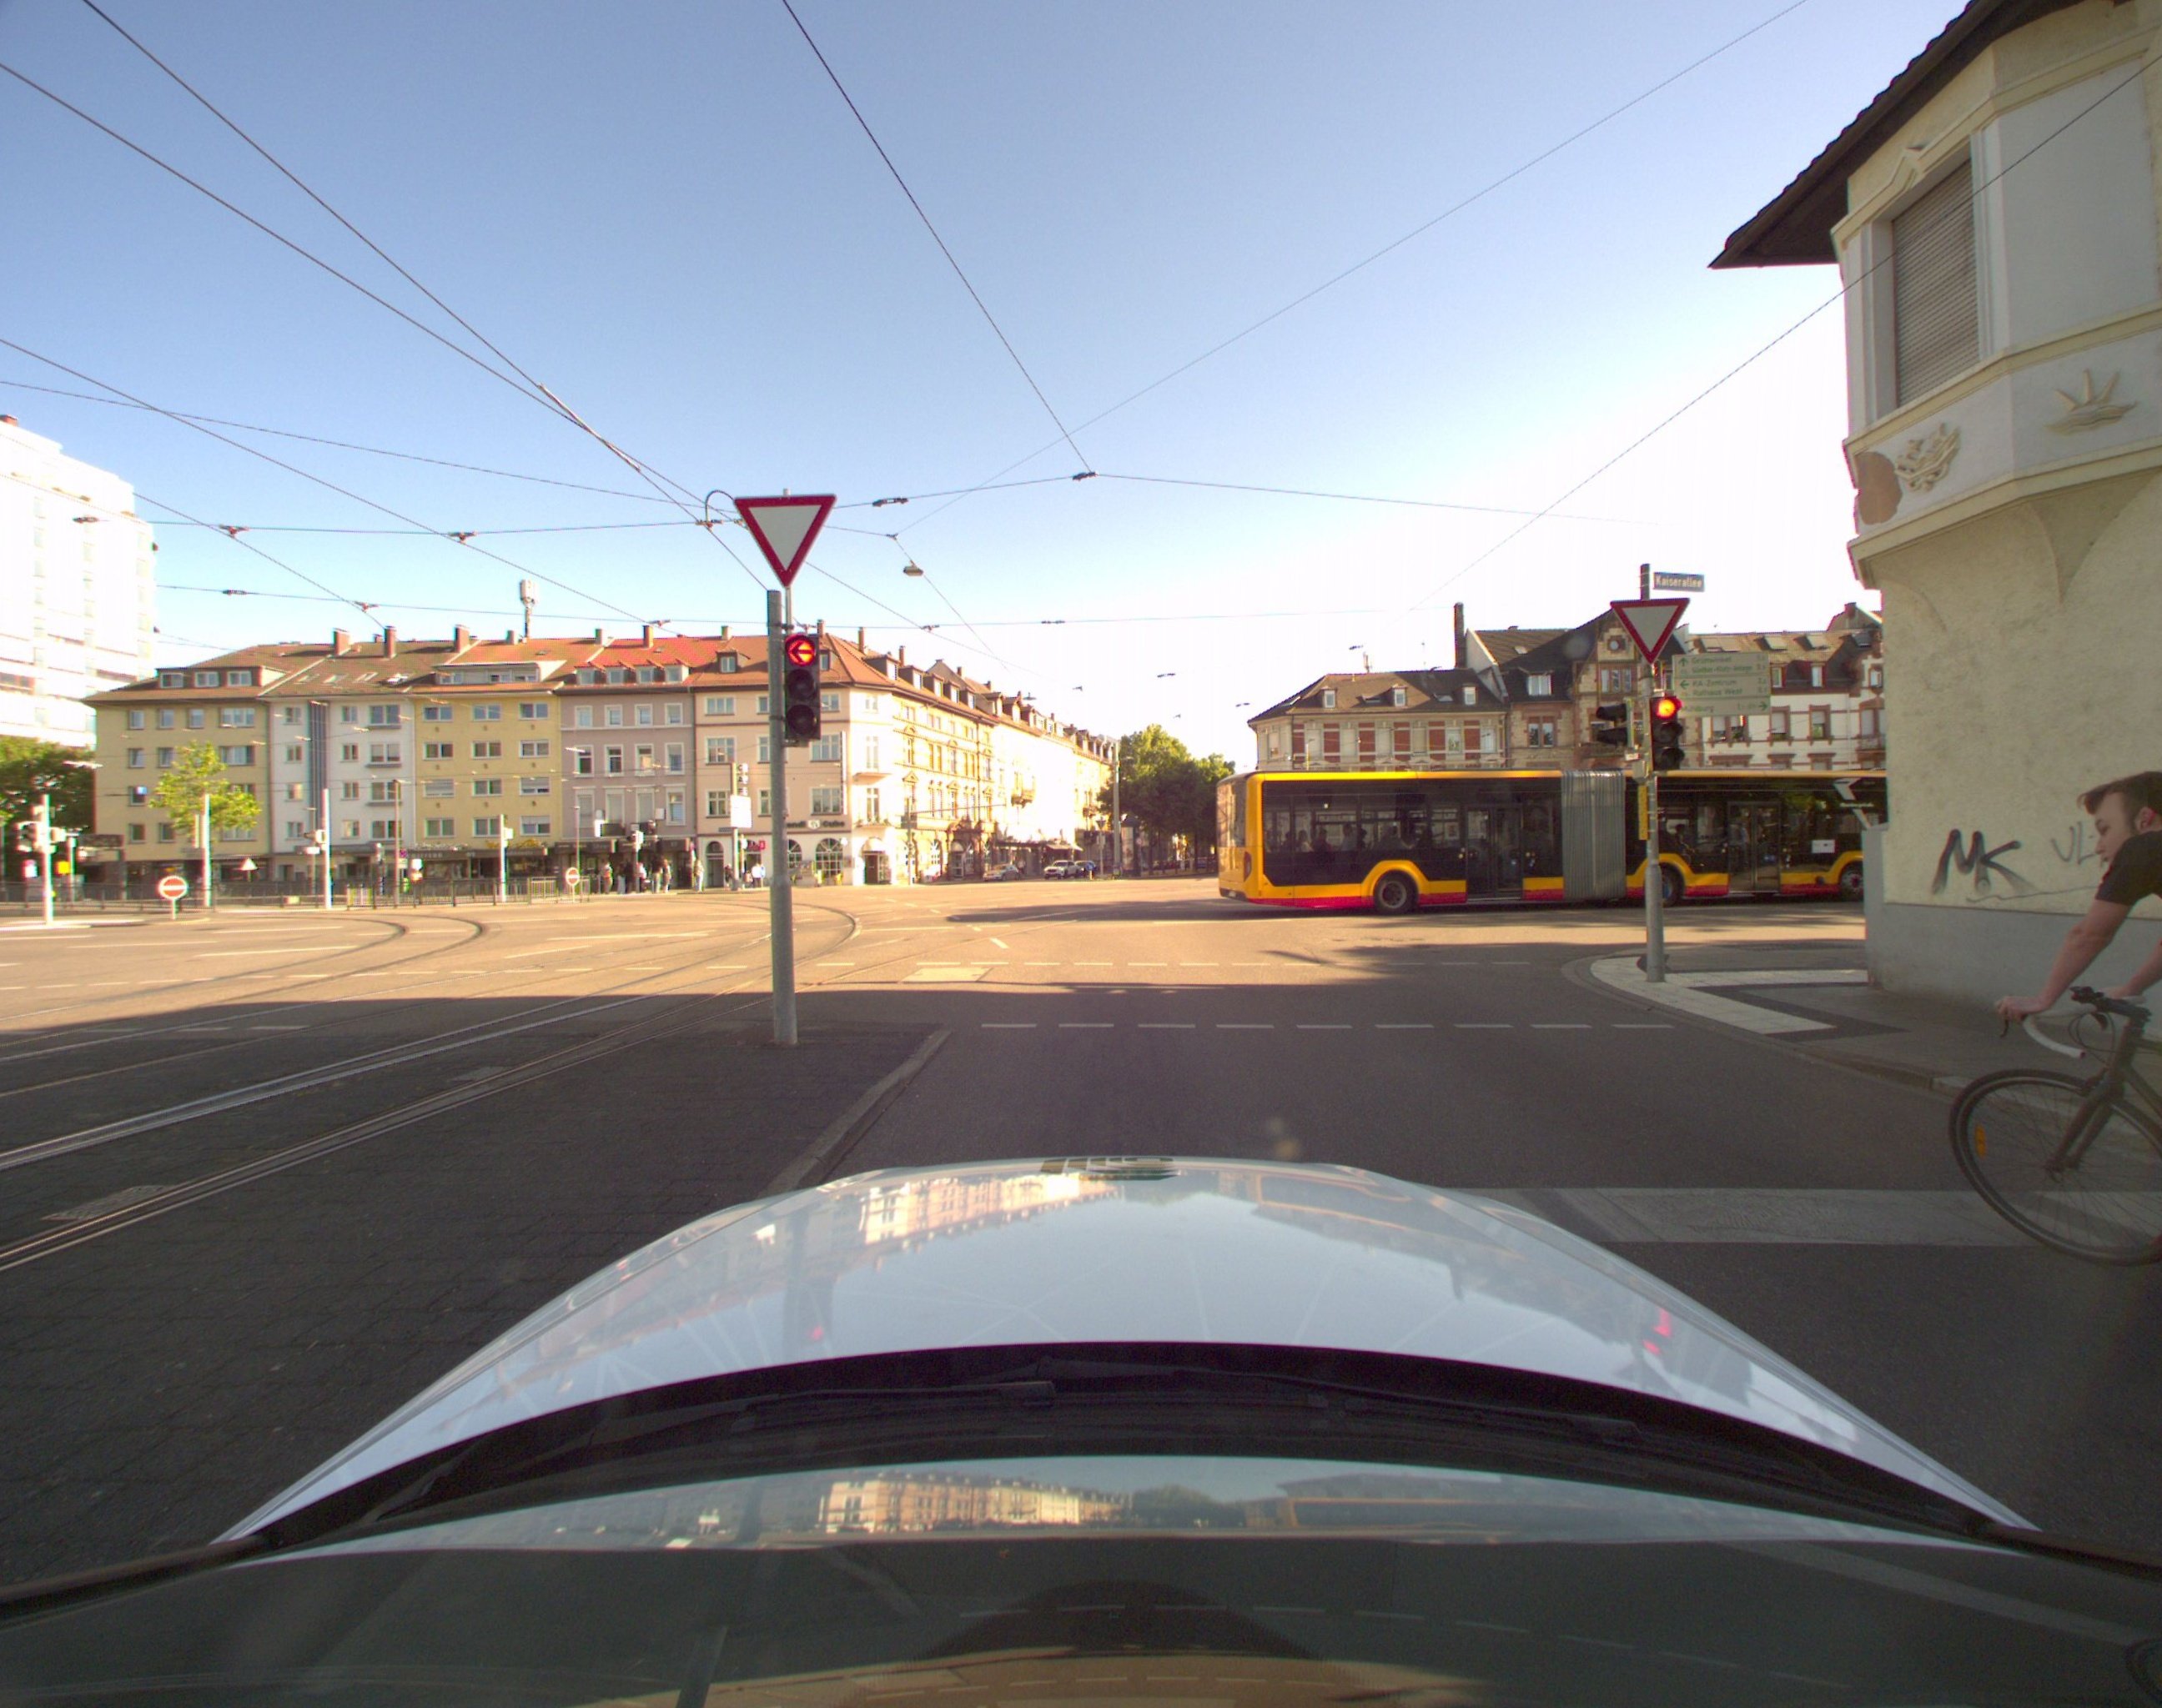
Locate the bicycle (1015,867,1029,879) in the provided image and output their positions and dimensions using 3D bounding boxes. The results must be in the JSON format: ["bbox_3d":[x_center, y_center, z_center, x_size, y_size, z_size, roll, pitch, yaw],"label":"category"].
[{"bbox_3d":[-4.754,1.532,65.562,0.650,1.000,1.671,-1,-1,14],"label":"bicycle"}]

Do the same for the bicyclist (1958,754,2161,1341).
[{"bbox_3d":[3.562,0.578,2.493,0.649,1.767,0.995,-1,0,2],"label":"bicyclist"}]

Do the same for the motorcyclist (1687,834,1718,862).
[{"bbox_3d":[31.676,-0.309,41.526,0.999,1.355,0.744,-1,0,2],"label":"motorcyclist"}]

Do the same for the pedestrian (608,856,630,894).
[{"bbox_3d":[-23.121,1.044,40.752,0.625,1.850,0.778,-1,0,1],"label":"pedestrian"}]

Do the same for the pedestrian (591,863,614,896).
[{"bbox_3d":[-24.899,1.307,42.374,0.764,1.682,0.628,-1,0,1],"label":"pedestrian"}]

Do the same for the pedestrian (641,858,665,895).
[{"bbox_3d":[-21.562,1.105,41.067,0.764,1.829,0.723,-1,0,1],"label":"pedestrian"}]

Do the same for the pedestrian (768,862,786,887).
[{"bbox_3d":[-20.734,1.411,55.544,0.907,1.682,0.742,-1,0,-4],"label":"pedestrian"}]

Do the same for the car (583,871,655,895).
[{"bbox_3d":[-30.339,1.899,53.529,3.711,1.491,1.820,0,-1,4],"label":"car"}]

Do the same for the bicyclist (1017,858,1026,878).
[{"bbox_3d":[-4.760,1.094,65.464,0.486,1.601,0.668,-1,0,12],"label":"bicyclist"}]

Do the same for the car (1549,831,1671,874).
[{"bbox_3d":[27.130,-0.082,41.884,4.962,2.013,2.001,-1,0,1],"label":"car"}]

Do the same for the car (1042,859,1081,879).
[{"bbox_3d":[-1.582,1.218,67.662,1.977,1.516,4.189,-1,0,18],"label":"car"}]

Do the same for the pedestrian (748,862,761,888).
[{"bbox_3d":[-21.919,1.413,54.713,0.744,1.682,0.623,-1,0,-23],"label":"pedestrian"}]

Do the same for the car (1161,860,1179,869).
[{"bbox_3d":[14.342,1.710,131.252,1.977,1.404,4.189,-1,0,18],"label":"car"}]

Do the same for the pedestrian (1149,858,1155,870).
[{"bbox_3d":[8.541,1.242,97.861,0.542,1.385,0.628,-2,0,18],"label":"pedestrian"}]

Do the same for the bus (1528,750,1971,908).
[{"bbox_3d":[16.406,-0.648,20.268,9.400,3.457,2.774,-1,1,-6],"label":"bus"}]

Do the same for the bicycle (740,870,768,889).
[{"bbox_3d":[-23.046,1.764,57.404,1.714,1.276,0.385,-1,0,-16],"label":"bicycle"}]

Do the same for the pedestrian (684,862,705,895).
[{"bbox_3d":[-20.036,1.258,42.237,0.738,1.682,0.628,-1,0,1],"label":"pedestrian"}]

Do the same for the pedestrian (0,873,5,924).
[{"bbox_3d":[-34.929,1.438,25.731,0.770,1.611,0.794,-1,0,-5],"label":"pedestrian"}]

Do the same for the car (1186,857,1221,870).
[{"bbox_3d":[14.972,1.157,99.499,3.959,1.454,1.687,-1,0,13],"label":"car"}]

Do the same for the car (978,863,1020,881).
[{"bbox_3d":[-6.751,1.477,67.356,1.977,1.361,3.836,-1,0,18],"label":"car"}]

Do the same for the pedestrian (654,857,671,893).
[{"bbox_3d":[-21.616,1.080,42.040,0.559,1.786,0.559,-1,0,-4],"label":"pedestrian"}]

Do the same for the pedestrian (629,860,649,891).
[{"bbox_3d":[-22.915,1.091,42.196,0.697,1.581,0.559,-1,0,-4],"label":"pedestrian"}]

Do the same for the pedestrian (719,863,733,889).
[{"bbox_3d":[-23.068,1.409,52.926,0.744,1.682,0.623,-1,0,-23],"label":"pedestrian"}]

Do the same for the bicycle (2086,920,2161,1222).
[{"bbox_3d":[4.507,0.860,2.481,0.568,1.165,1.890,-1,0,2],"label":"bicycle"}]

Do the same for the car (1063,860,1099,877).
[{"bbox_3d":[0.039,1.312,73.799,1.977,1.404,4.189,-1,0,18],"label":"car"}]

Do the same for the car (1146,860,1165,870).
[{"bbox_3d":[11.212,1.690,122.493,1.977,1.404,4.189,-1,0,18],"label":"car"}]

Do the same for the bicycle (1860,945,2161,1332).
[{"bbox_3d":[3.563,0.920,2.495,0.568,1.058,1.890,-1,0,2],"label":"bicycle"}]

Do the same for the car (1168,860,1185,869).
[{"bbox_3d":[16.042,1.739,136.411,1.977,1.404,4.189,-1,0,18],"label":"car"}]

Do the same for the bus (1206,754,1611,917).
[{"bbox_3d":[7.515,-0.469,19.238,8.603,3.457,2.781,-1,1,-6],"label":"bus"}]
